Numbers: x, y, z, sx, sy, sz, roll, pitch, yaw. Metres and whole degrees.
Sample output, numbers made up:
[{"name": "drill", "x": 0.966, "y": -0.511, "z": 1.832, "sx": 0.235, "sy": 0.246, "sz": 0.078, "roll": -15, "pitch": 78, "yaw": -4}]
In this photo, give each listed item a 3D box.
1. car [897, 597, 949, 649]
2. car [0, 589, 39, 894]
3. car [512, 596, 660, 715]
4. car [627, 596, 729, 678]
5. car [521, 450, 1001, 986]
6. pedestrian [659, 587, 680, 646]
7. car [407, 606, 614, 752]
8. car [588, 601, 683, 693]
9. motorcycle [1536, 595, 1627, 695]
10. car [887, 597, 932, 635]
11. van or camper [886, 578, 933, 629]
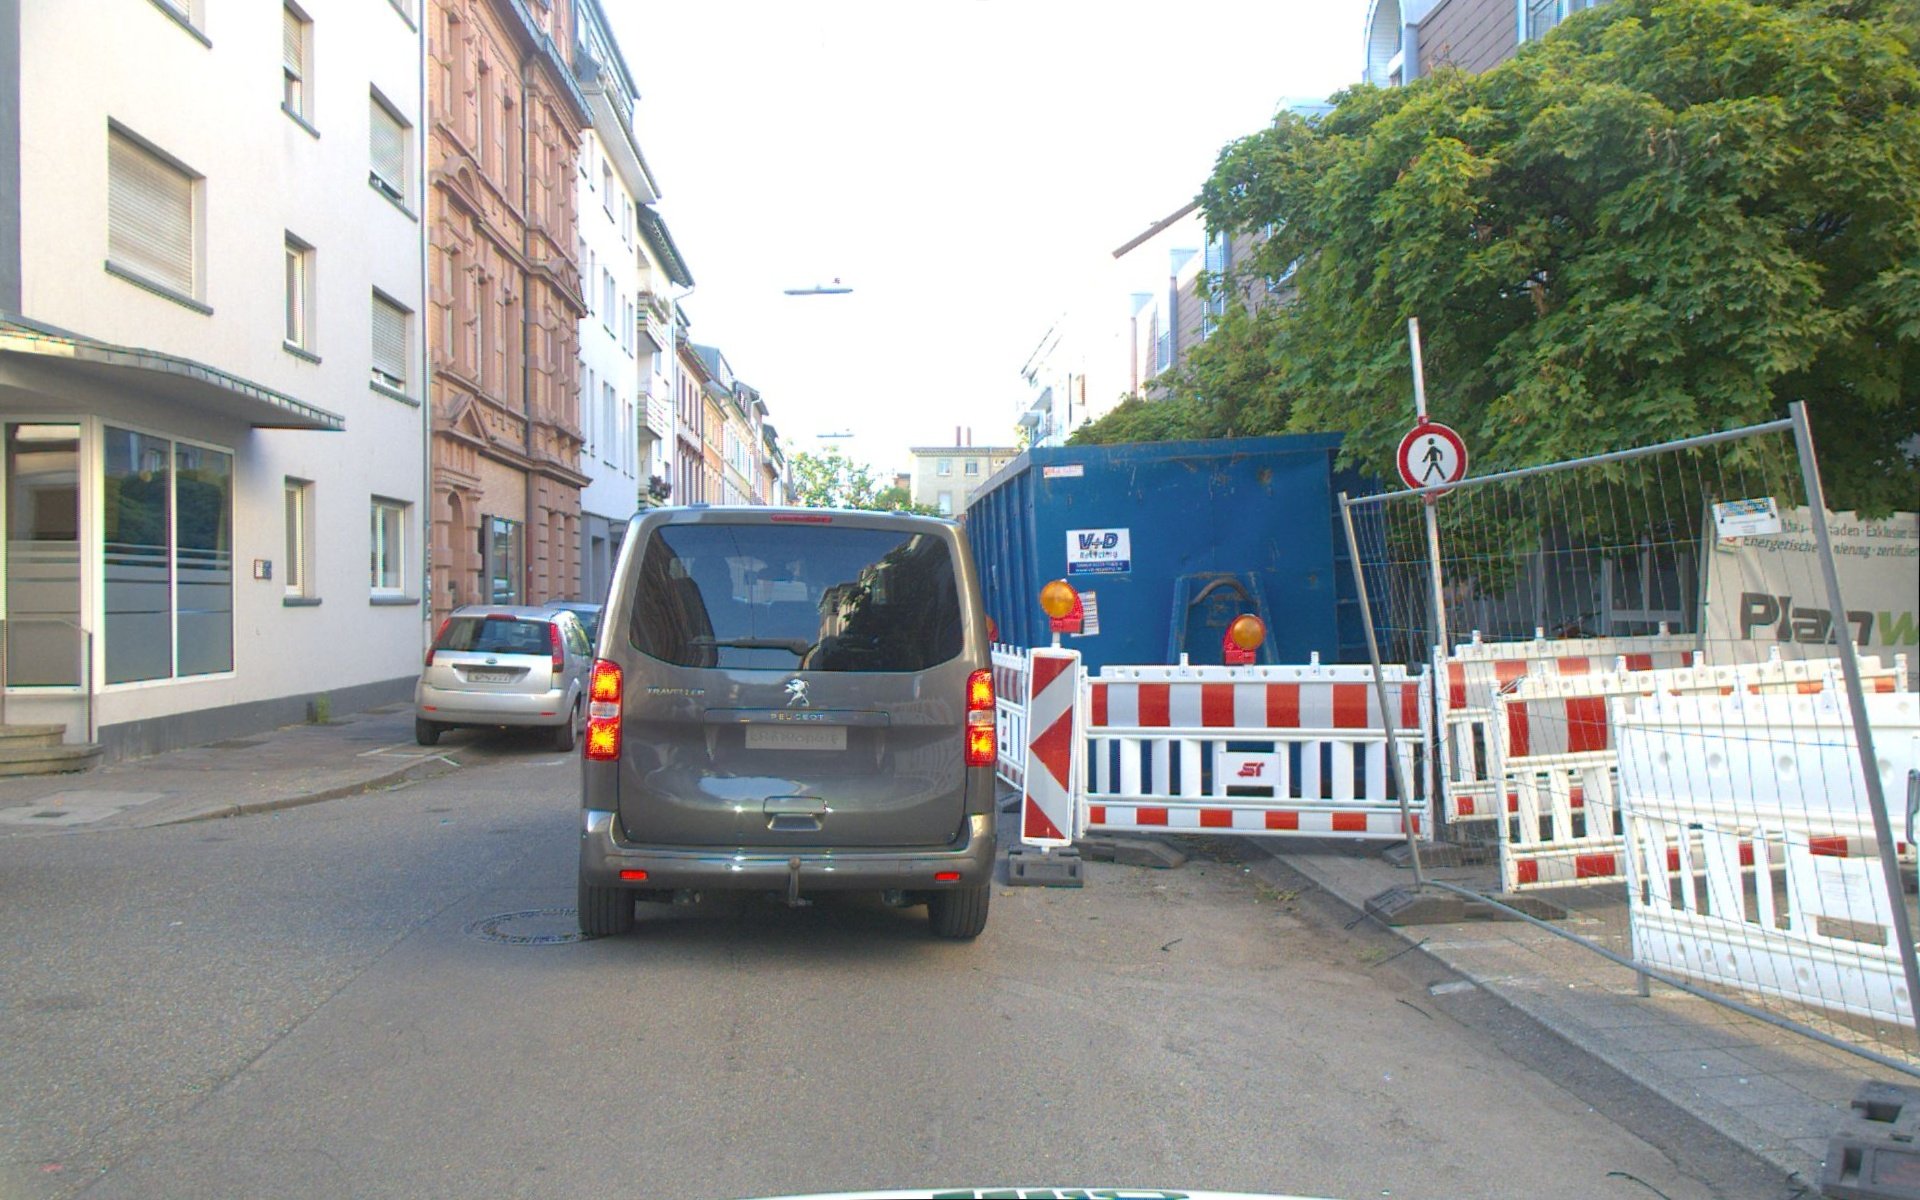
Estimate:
[{"name": "car", "x": -1.292, "y": 0.751, "z": 57.333, "sx": 1.713, "sy": 1.713, "sz": 4.524, "roll": 1, "pitch": 0, "yaw": -1}, {"name": "car", "x": -6.765, "y": 0.696, "z": 7.868, "sx": 3.957, "sy": 1.512, "sz": 1.974, "roll": 0, "pitch": 0, "yaw": -37}, {"name": "car", "x": -5.324, "y": 0.739, "z": 23.927, "sx": 1.525, "sy": 1.535, "sz": 3.594, "roll": 2, "pitch": 0, "yaw": -4}, {"name": "car", "x": -5.843, "y": 0.727, "z": 34.620, "sx": 1.706, "sy": 1.627, "sz": 4.011, "roll": 0, "pitch": 0, "yaw": -4}, {"name": "car", "x": -0.924, "y": 0.450, "z": 8.565, "sx": 1.821, "sy": 2.049, "sz": 3.997, "roll": -2, "pitch": 0, "yaw": -4}, {"name": "pedestrian", "x": -8.306, "y": 0.463, "z": 47.278, "sx": 0.485, "sy": 1.667, "sz": 0.665, "roll": 1, "pitch": -1, "yaw": -4}, {"name": "car", "x": -4.896, "y": 0.800, "z": 18.434, "sx": 1.600, "sy": 1.455, "sz": 3.551, "roll": 0, "pitch": 0, "yaw": -5}, {"name": "car", "x": -5.943, "y": 0.822, "z": 30.513, "sx": 1.368, "sy": 1.616, "sz": 2.791, "roll": 0, "pitch": 0, "yaw": -4}, {"name": "motorcycle", "x": 8.208, "y": 0.577, "z": 21.941, "sx": 0.851, "sy": 1.244, "sz": 2.459, "roll": -1, "pitch": -1, "yaw": 14}, {"name": "car", "x": -2.286, "y": 0.722, "z": 74.536, "sx": 1.689, "sy": 1.640, "sz": 4.582, "roll": 0, "pitch": 0, "yaw": -6}, {"name": "van or camper", "x": -2.817, "y": 0.198, "z": 90.545, "sx": 2.059, "sy": 2.647, "sz": 7.504, "roll": -1, "pitch": 0, "yaw": -5}]
